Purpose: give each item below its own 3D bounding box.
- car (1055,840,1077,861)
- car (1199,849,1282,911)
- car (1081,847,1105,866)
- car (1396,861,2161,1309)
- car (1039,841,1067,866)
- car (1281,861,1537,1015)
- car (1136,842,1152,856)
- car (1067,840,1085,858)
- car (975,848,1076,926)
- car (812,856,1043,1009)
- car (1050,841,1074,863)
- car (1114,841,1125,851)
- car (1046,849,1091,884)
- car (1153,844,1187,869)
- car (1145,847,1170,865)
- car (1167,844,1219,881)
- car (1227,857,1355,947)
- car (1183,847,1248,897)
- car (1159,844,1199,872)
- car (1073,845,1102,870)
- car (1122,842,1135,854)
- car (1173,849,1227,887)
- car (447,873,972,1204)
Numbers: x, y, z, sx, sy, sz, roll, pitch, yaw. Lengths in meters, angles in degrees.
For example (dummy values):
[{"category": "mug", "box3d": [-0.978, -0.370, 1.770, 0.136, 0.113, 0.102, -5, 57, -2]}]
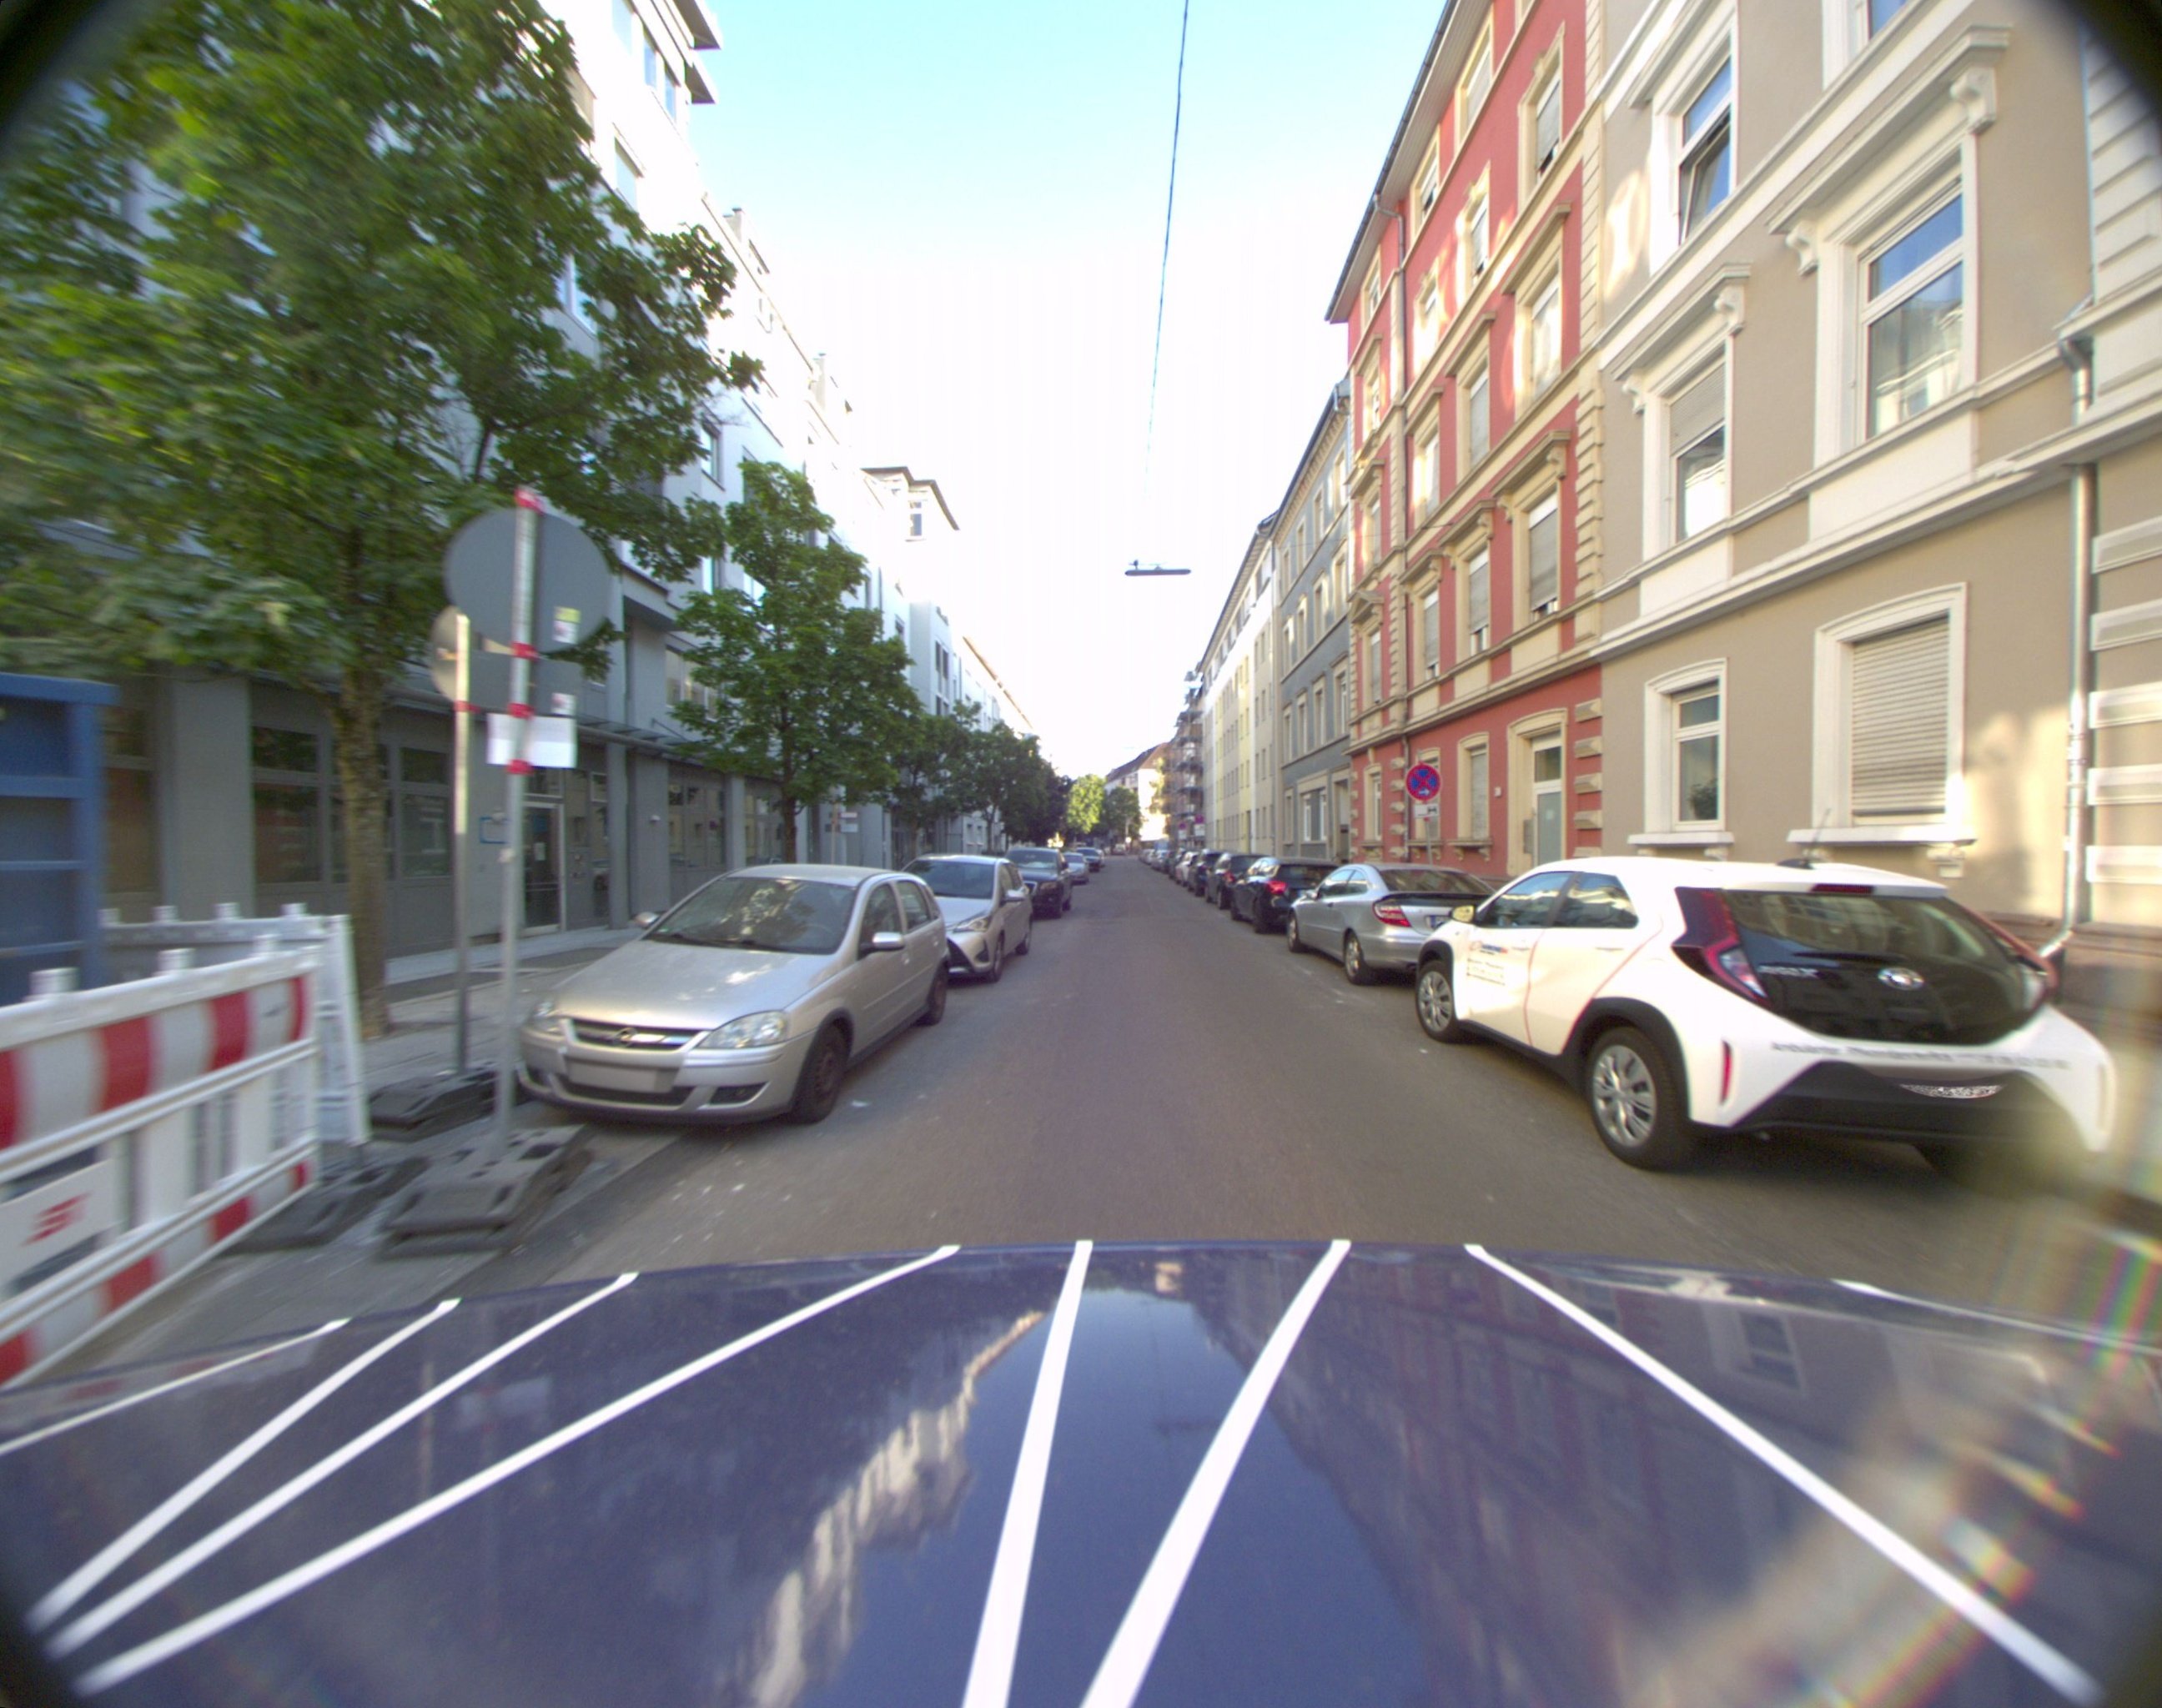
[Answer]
[{"category": "car", "box3d": [-1.505, -0.368, 78.685, 1.998, 2.002, 4.000, -1, 1, 2]}, {"category": "car", "box3d": [4.352, 0.655, 21.270, 1.537, 1.490, 4.195, 1, 1, 2]}, {"category": "car", "box3d": [1.068, 0.186, 64.326, 1.902, 1.510, 4.224, -1, 1, 2]}, {"category": "car", "box3d": [3.528, 0.880, 4.770, 1.688, 1.488, 3.845, 3, 1, 5]}, {"category": "car", "box3d": [-2.357, -0.056, 64.720, 1.998, 2.002, 4.000, -1, 1, 2]}, {"category": "car", "box3d": [3.861, 0.873, 9.723, 1.613, 1.420, 3.962, 2, 1, 2]}, {"category": "car", "box3d": [8.661, -0.688, 104.766, 1.998, 1.783, 4.000, -1, 1, 3]}, {"category": "car", "box3d": [-0.568, -0.616, 91.377, 1.998, 2.002, 4.000, -1, 1, 2]}, {"category": "car", "box3d": [-1.248, 0.721, 19.185, 1.863, 1.679, 4.391, -1, 1, 5]}, {"category": "car", "box3d": [-1.779, 0.865, 10.246, 1.912, 1.576, 4.001, -1, 1, 6]}, {"category": "car", "box3d": [-1.821, -0.234, 74.207, 1.998, 2.002, 4.000, -1, 1, 2]}, {"category": "car", "box3d": [6.870, -1.462, 134.851, 1.998, 1.783, 4.000, -1, 1, 3]}, {"category": "car", "box3d": [-0.540, 0.532, 35.421, 1.855, 1.480, 4.000, -1, 1, 2]}, {"category": "car", "box3d": [6.027, 0.126, 51.907, 1.998, 1.567, 4.150, -1, 1, 3]}, {"category": "car", "box3d": [7.224, 0.120, 72.047, 1.998, 1.576, 4.493, -1, 1, 2]}, {"category": "car", "box3d": [5.415, 0.366, 37.298, 1.998, 1.640, 4.493, -1, 1, 2]}, {"category": "car", "box3d": [4.023, 0.837, 15.150, 1.588, 1.407, 3.912, 3, 1, 3]}, {"category": "car", "box3d": [4.563, 0.566, 26.276, 1.597, 1.514, 4.430, -1, 1, 2]}, {"category": "car", "box3d": [6.044, 0.197, 47.199, 1.998, 1.576, 4.493, -1, 1, 2]}, {"category": "car", "box3d": [0.472, 0.211, 51.875, 1.855, 1.649, 3.999, -1, 1, 1]}, {"category": "car", "box3d": [7.300, -0.924, 117.405, 1.998, 1.783, 4.000, -1, 1, 3]}, {"category": "car", "box3d": [4.967, 0.539, 32.200, 1.661, 1.421, 4.353, -1, 1, 1]}, {"category": "car", "box3d": [-2.138, 0.962, 5.757, 1.637, 1.439, 4.067, -1, 1, 6]}]
